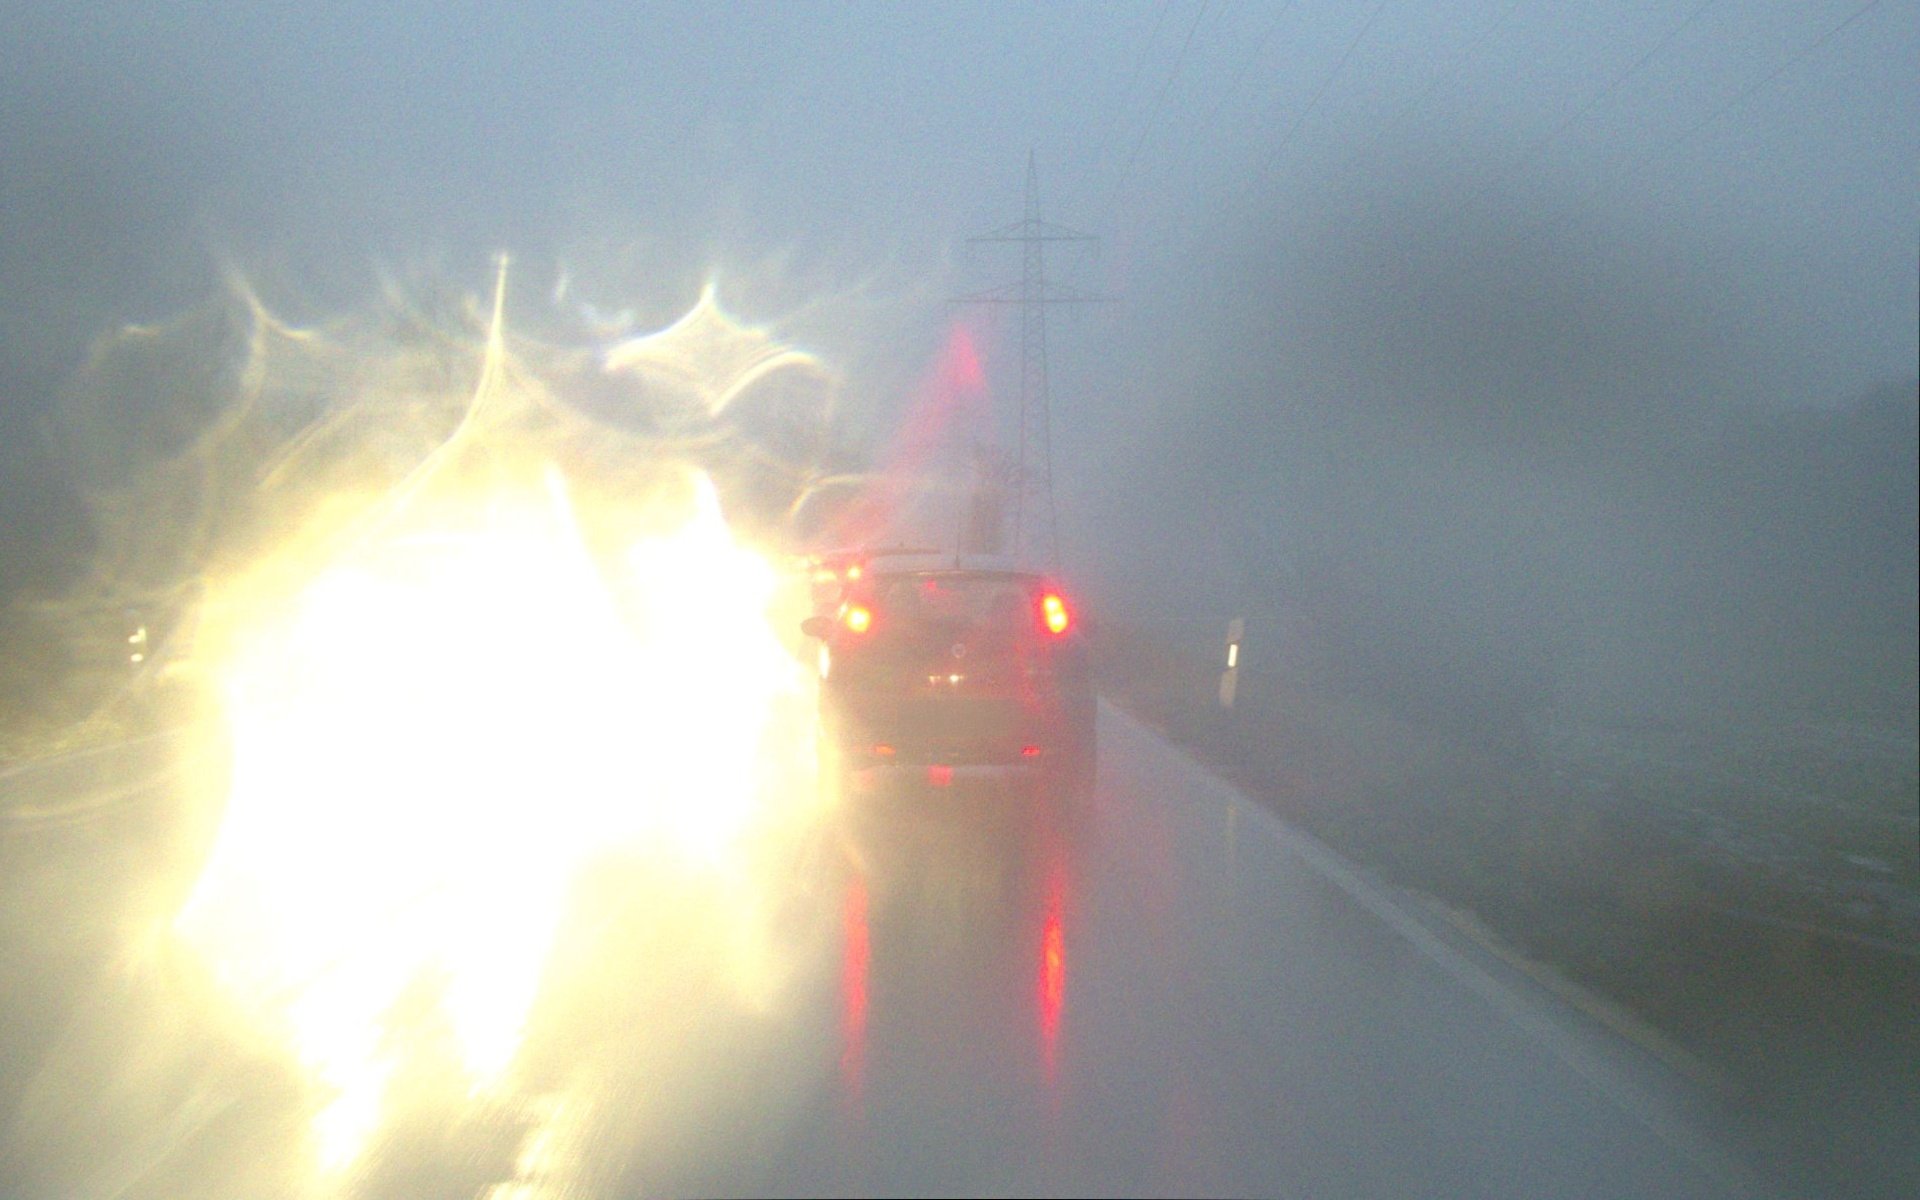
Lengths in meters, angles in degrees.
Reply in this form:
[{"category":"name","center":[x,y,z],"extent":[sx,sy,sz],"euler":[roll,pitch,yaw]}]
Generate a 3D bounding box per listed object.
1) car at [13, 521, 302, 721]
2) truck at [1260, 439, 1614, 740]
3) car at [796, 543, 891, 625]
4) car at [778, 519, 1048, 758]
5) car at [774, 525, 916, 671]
[{"category":"car","center":[-6.965,0.131,30.181],"extent":[1.672,1.625,3.976],"euler":[1,1,-1]},{"category":"truck","center":[5.103,-0.148,38.201],"extent":[2.533,2.968,7.858],"euler":[1,1,-2]},{"category":"car","center":[-2.401,-0.357,70.041],"extent":[1.769,1.585,4.165],"euler":[1,1,-4]},{"category":"car","center":[-0.359,0.211,21.888],"extent":[1.500,1.393,3.200],"euler":[1,1,-4]},{"category":"car","center":[-1.700,-0.047,49.727],"extent":[1.852,2.007,4.001],"euler":[1,1,-4]}]
